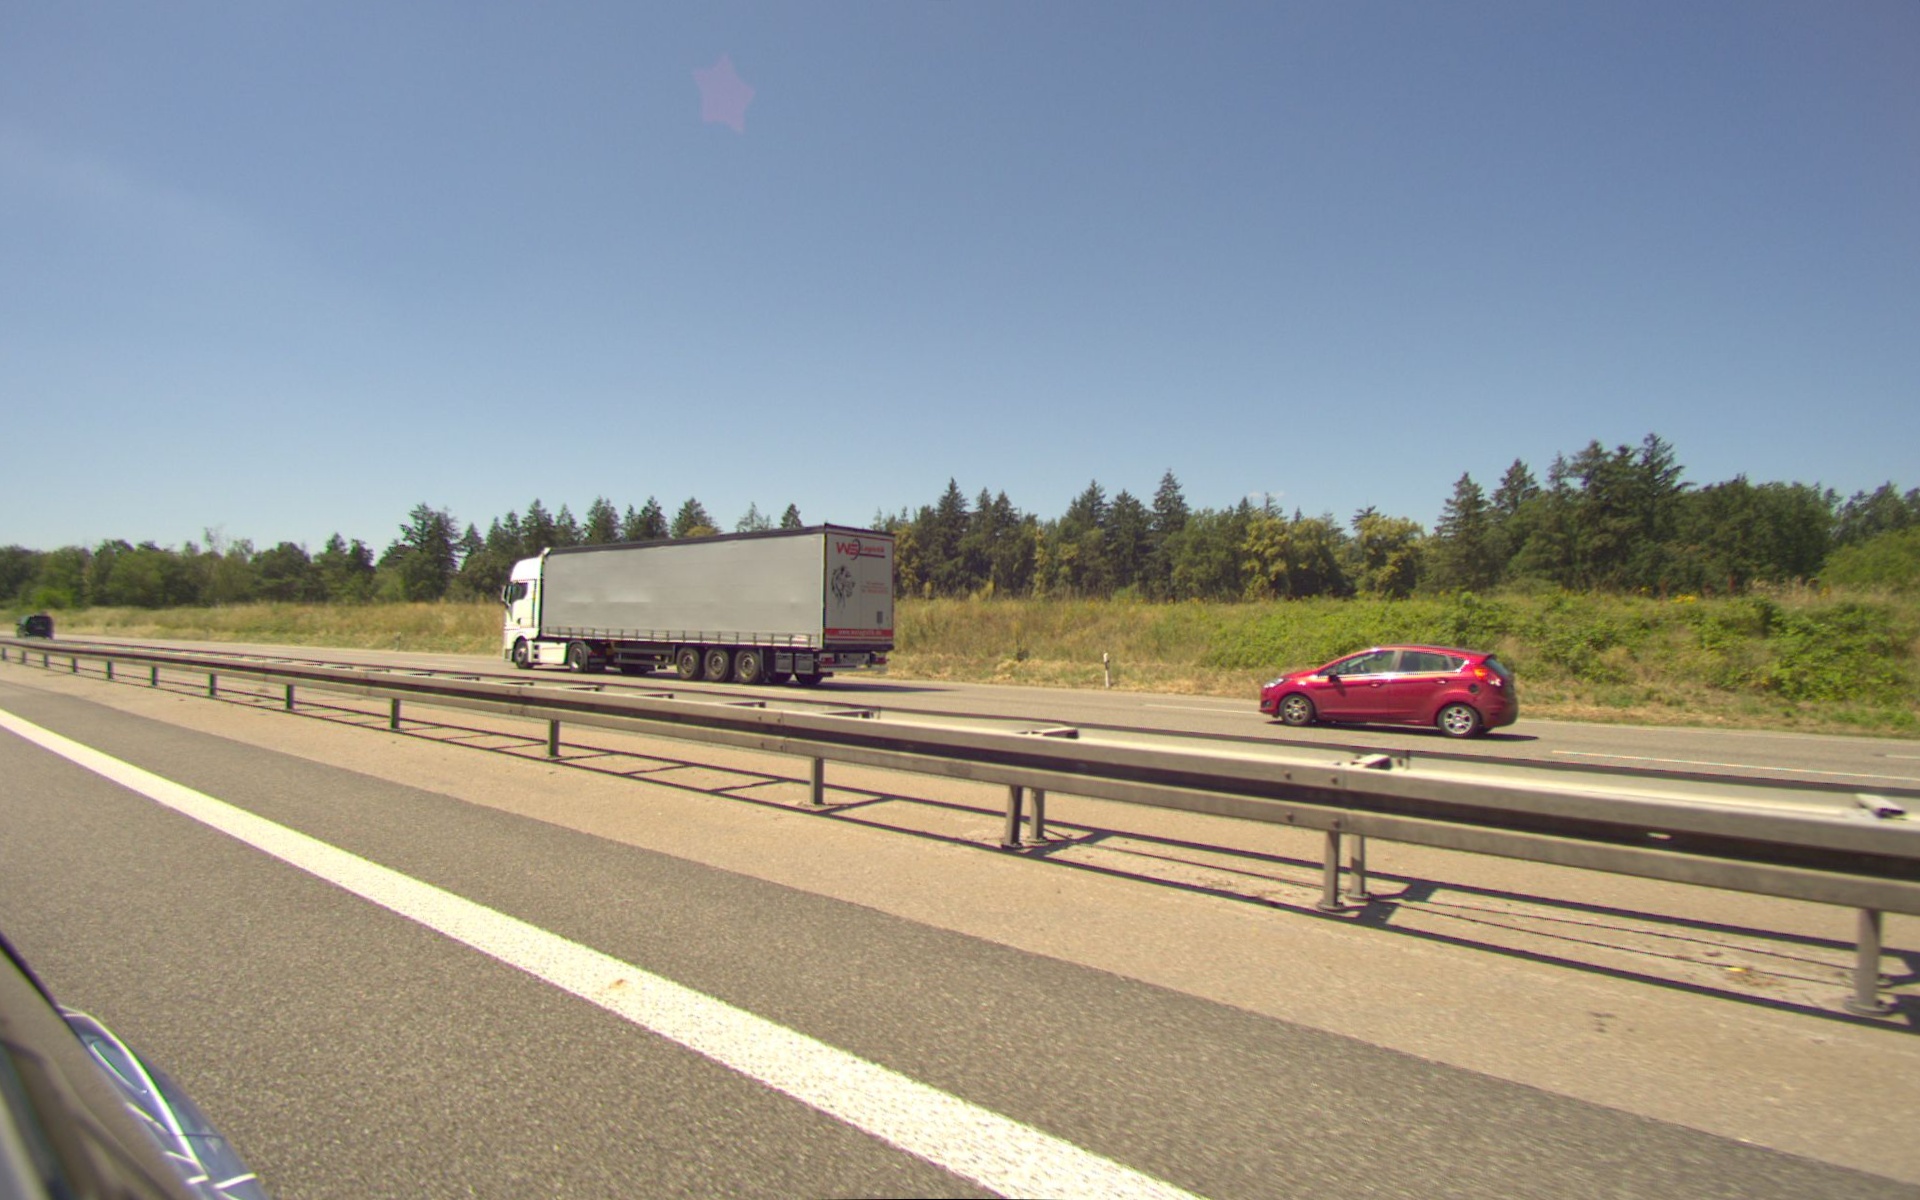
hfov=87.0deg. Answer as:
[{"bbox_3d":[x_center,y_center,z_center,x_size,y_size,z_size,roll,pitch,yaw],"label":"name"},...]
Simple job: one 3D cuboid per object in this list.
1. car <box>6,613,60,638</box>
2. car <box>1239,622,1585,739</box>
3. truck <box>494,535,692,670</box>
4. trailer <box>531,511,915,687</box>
[{"bbox_3d":[-69.799,1.908,76.159,5.294,1.826,2.205,-1,-3,40],"label":"car"},{"bbox_3d":[7.302,1.216,16.610,4.783,1.623,2.205,-1,-3,40],"label":"car"},{"bbox_3d":[-12.182,0.187,33.328,6.947,3.990,2.919,-1,-4,40],"label":"truck"},{"bbox_3d":[-7.524,0.128,29.441,14.090,4.139,2.919,-1,-4,40],"label":"trailer"}]
